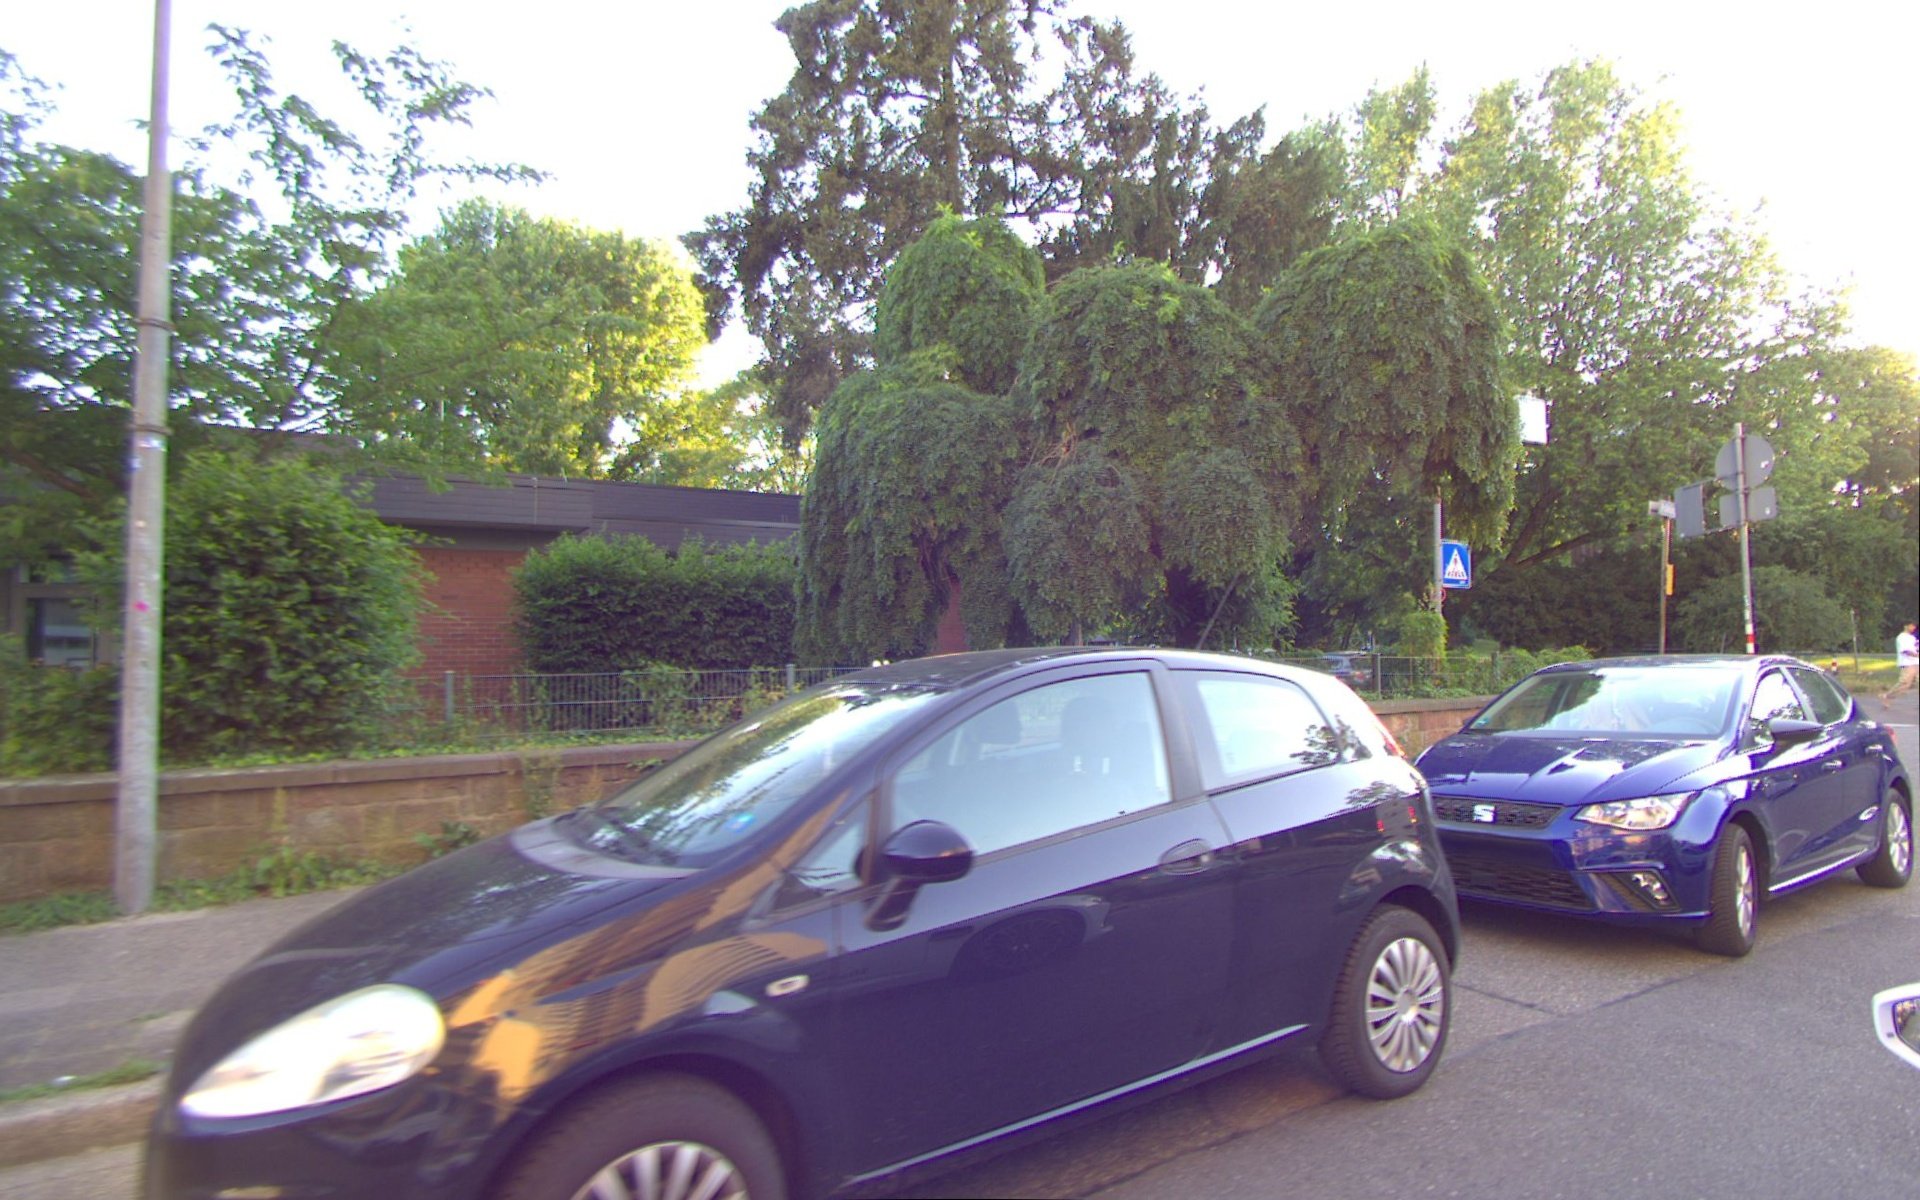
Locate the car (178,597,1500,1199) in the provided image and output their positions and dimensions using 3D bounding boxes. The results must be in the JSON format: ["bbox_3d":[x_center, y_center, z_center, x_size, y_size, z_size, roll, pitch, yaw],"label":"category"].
[{"bbox_3d":[-0.114,0.873,3.235,3.659,1.587,1.723,1,-4,-34],"label":"car"}]

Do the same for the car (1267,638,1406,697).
[{"bbox_3d":[11.696,2.096,31.450,1.798,1.511,3.843,-6,-1,-24],"label":"car"}]

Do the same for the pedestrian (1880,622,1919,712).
[{"bbox_3d":[19.724,1.375,20.959,0.613,1.833,0.590,0,-1,-30],"label":"pedestrian"}]

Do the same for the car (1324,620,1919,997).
[{"bbox_3d":[4.105,0.966,6.077,3.753,1.587,1.723,1,-4,-36],"label":"car"}]

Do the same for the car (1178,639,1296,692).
[{"bbox_3d":[9.817,2.337,35.824,1.800,1.583,3.857,-6,-1,-27],"label":"car"}]
